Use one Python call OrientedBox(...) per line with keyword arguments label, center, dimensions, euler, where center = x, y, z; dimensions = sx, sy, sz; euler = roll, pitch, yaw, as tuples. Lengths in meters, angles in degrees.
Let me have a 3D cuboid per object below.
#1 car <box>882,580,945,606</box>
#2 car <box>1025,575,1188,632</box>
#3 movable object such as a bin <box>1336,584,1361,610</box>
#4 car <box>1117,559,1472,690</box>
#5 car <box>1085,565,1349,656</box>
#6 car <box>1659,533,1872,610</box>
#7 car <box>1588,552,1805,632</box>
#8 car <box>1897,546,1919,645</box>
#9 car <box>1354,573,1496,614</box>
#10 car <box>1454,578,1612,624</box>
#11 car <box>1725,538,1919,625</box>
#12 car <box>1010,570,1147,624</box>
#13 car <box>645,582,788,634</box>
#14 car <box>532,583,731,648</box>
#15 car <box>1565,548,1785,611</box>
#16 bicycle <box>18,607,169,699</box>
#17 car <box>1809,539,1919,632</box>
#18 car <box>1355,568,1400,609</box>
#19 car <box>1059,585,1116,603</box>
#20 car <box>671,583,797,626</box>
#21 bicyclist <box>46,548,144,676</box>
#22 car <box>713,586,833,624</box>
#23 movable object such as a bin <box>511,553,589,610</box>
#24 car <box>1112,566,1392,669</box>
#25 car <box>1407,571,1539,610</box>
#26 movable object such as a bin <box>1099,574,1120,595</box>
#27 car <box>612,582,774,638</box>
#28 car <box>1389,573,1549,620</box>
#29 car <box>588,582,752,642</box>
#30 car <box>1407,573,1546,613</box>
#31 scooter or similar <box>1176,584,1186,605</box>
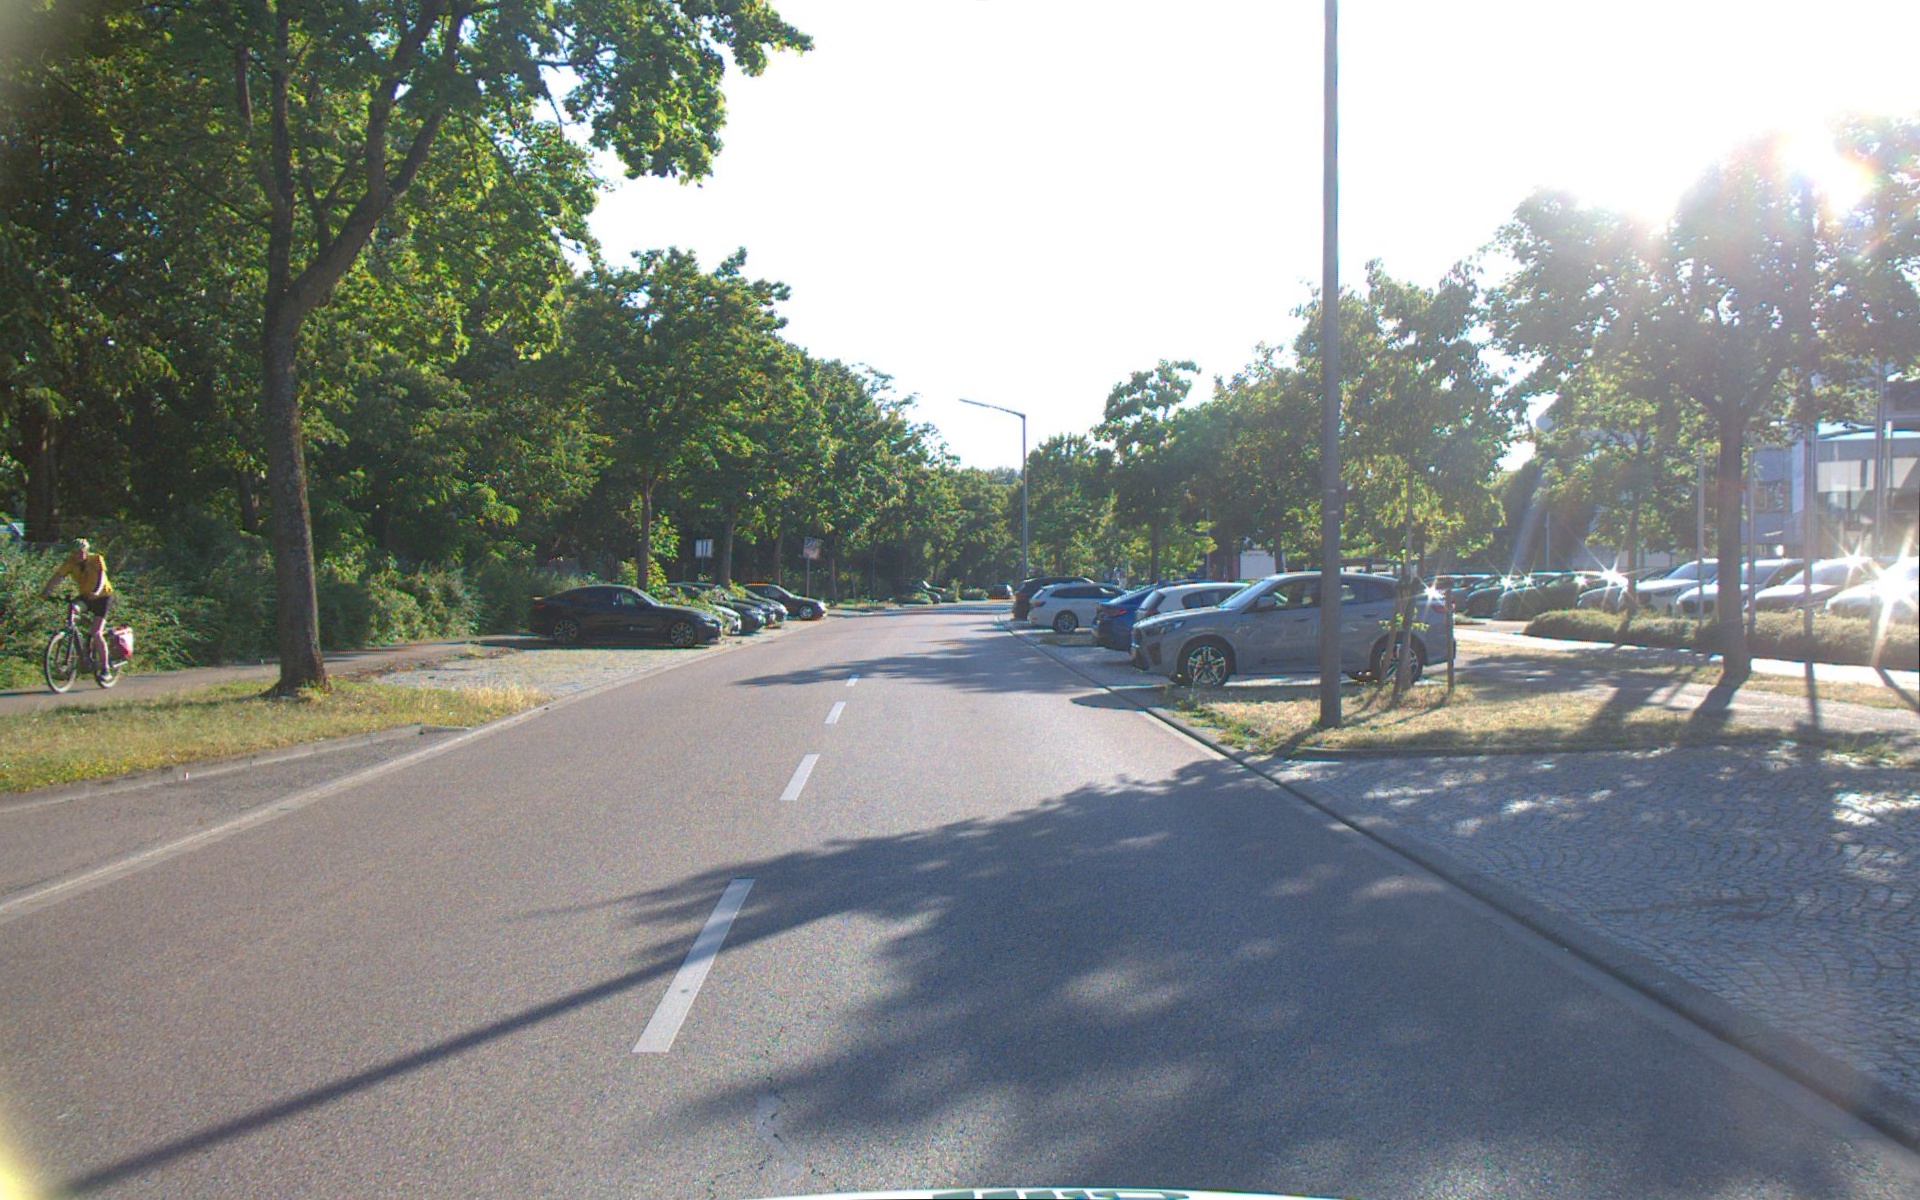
OrientedBox(label="car", center=(-3.818, -0.583, 136.526), dimensions=(4.898, 2.055, 2.176), euler=(0, 0, 6))
OrientedBox(label="car", center=(4.291, 0.081, 49.085), dimensions=(4.600, 1.505, 2.000), euler=(-2, 1, -1))
OrientedBox(label="movable object such as a bin", center=(19.647, -0.141, 83.638), dimensions=(1.093, 1.290, 1.039), euler=(0, 0, 6))
OrientedBox(label="car", center=(4.616, 0.320, 23.263), dimensions=(4.500, 1.612, 1.999), euler=(-2, 0, -4))
OrientedBox(label="car", center=(4.677, 0.177, 30.603), dimensions=(4.531, 1.481, 2.000), euler=(-2, 0, -1))
OrientedBox(label="car", center=(17.879, -0.655, 36.676), dimensions=(4.537, 1.601, 1.982), euler=(-1, 1, -28))
OrientedBox(label="car", center=(17.724, -0.205, 39.792), dimensions=(4.660, 1.720, 2.389), euler=(-2, 0, -28))
OrientedBox(label="car", center=(17.859, -0.196, 27.333), dimensions=(4.538, 1.601, 1.982), euler=(-3, 1, -28))
OrientedBox(label="car", center=(17.227, -0.231, 61.412), dimensions=(4.702, 1.489, 1.989), euler=(0, 0, 41))
OrientedBox(label="car", center=(19.438, 0.040, 56.221), dimensions=(4.702, 1.489, 1.989), euler=(0, 0, 41))
OrientedBox(label="car", center=(17.857, -0.394, 33.470), dimensions=(4.537, 1.601, 1.982), euler=(-2, 0, -28))
OrientedBox(label="car", center=(4.067, -0.111, 56.748), dimensions=(4.596, 1.781, 2.193), euler=(0, 0, 4))
OrientedBox(label="car", center=(-7.945, 0.243, 54.279), dimensions=(4.388, 1.557, 2.000), euler=(2, 0, -1))
OrientedBox(label="car", center=(-8.039, 0.362, 40.815), dimensions=(4.556, 1.446, 1.915), euler=(2, 0, -3))
OrientedBox(label="car", center=(19.183, -0.521, 44.547), dimensions=(1.986, 1.599, 5.105), euler=(-1, 0, -45))
OrientedBox(label="bicycle", center=(-10.893, 0.637, 20.890), dimensions=(0.750, 1.057, 2.217), euler=(-1, 0, -1))
OrientedBox(label="car", center=(18.016, -0.325, 30.462), dimensions=(4.537, 1.601, 1.982), euler=(-2, 0, -28))
OrientedBox(label="car", center=(19.988, -0.552, 79.065), dimensions=(1.988, 1.860, 4.980), euler=(0, 1, 15))
OrientedBox(label="car", center=(11.649, -0.590, 150.964), dimensions=(5.065, 1.601, 2.160), euler=(0, 0, 8))
OrientedBox(label="car", center=(-8.411, 0.159, 61.884), dimensions=(4.388, 1.487, 2.000), euler=(2, 0, -1))
OrientedBox(label="bicyclist", center=(-10.859, 0.145, 20.798), dimensions=(0.716, 1.556, 0.951), euler=(-1, 0, -1))
OrientedBox(label="car", center=(-8.077, 0.187, 71.628), dimensions=(4.932, 1.487, 2.000), euler=(2, 0, -1))
OrientedBox(label="movable object such as a bin", center=(-20.165, -0.898, 81.304), dimensions=(2.140, 2.711, 4.744), euler=(-1, 0, -36))
OrientedBox(label="car", center=(4.812, 0.274, 27.702), dimensions=(4.287, 1.505, 2.000), euler=(-2, 0, -1))
OrientedBox(label="car", center=(20.608, -0.361, 66.555), dimensions=(4.702, 1.489, 1.989), euler=(0, 0, 41))
OrientedBox(label="movable object such as a bin", center=(23.201, -2.384, 257.095), dimensions=(2.778, 3.122, 4.931), euler=(2, 1, 9))
OrientedBox(label="car", center=(-8.249, 0.296, 51.414), dimensions=(4.754, 1.557, 1.998), euler=(2, 0, -4))
OrientedBox(label="car", center=(16.828, -0.125, 54.834), dimensions=(1.986, 1.489, 4.710), euler=(-1, 0, -45))
OrientedBox(label="car", center=(-8.126, 0.320, 46.622), dimensions=(4.198, 1.557, 2.000), euler=(2, 0, 0))
OrientedBox(label="car", center=(19.805, -0.271, 63.525), dimensions=(4.702, 1.489, 2.035), euler=(0, 0, 41))
OrientedBox(label="scooter or similar", center=(13.707, -0.369, 102.503), dimensions=(0.509, 1.294, 1.388), euler=(0, 0, 5))
